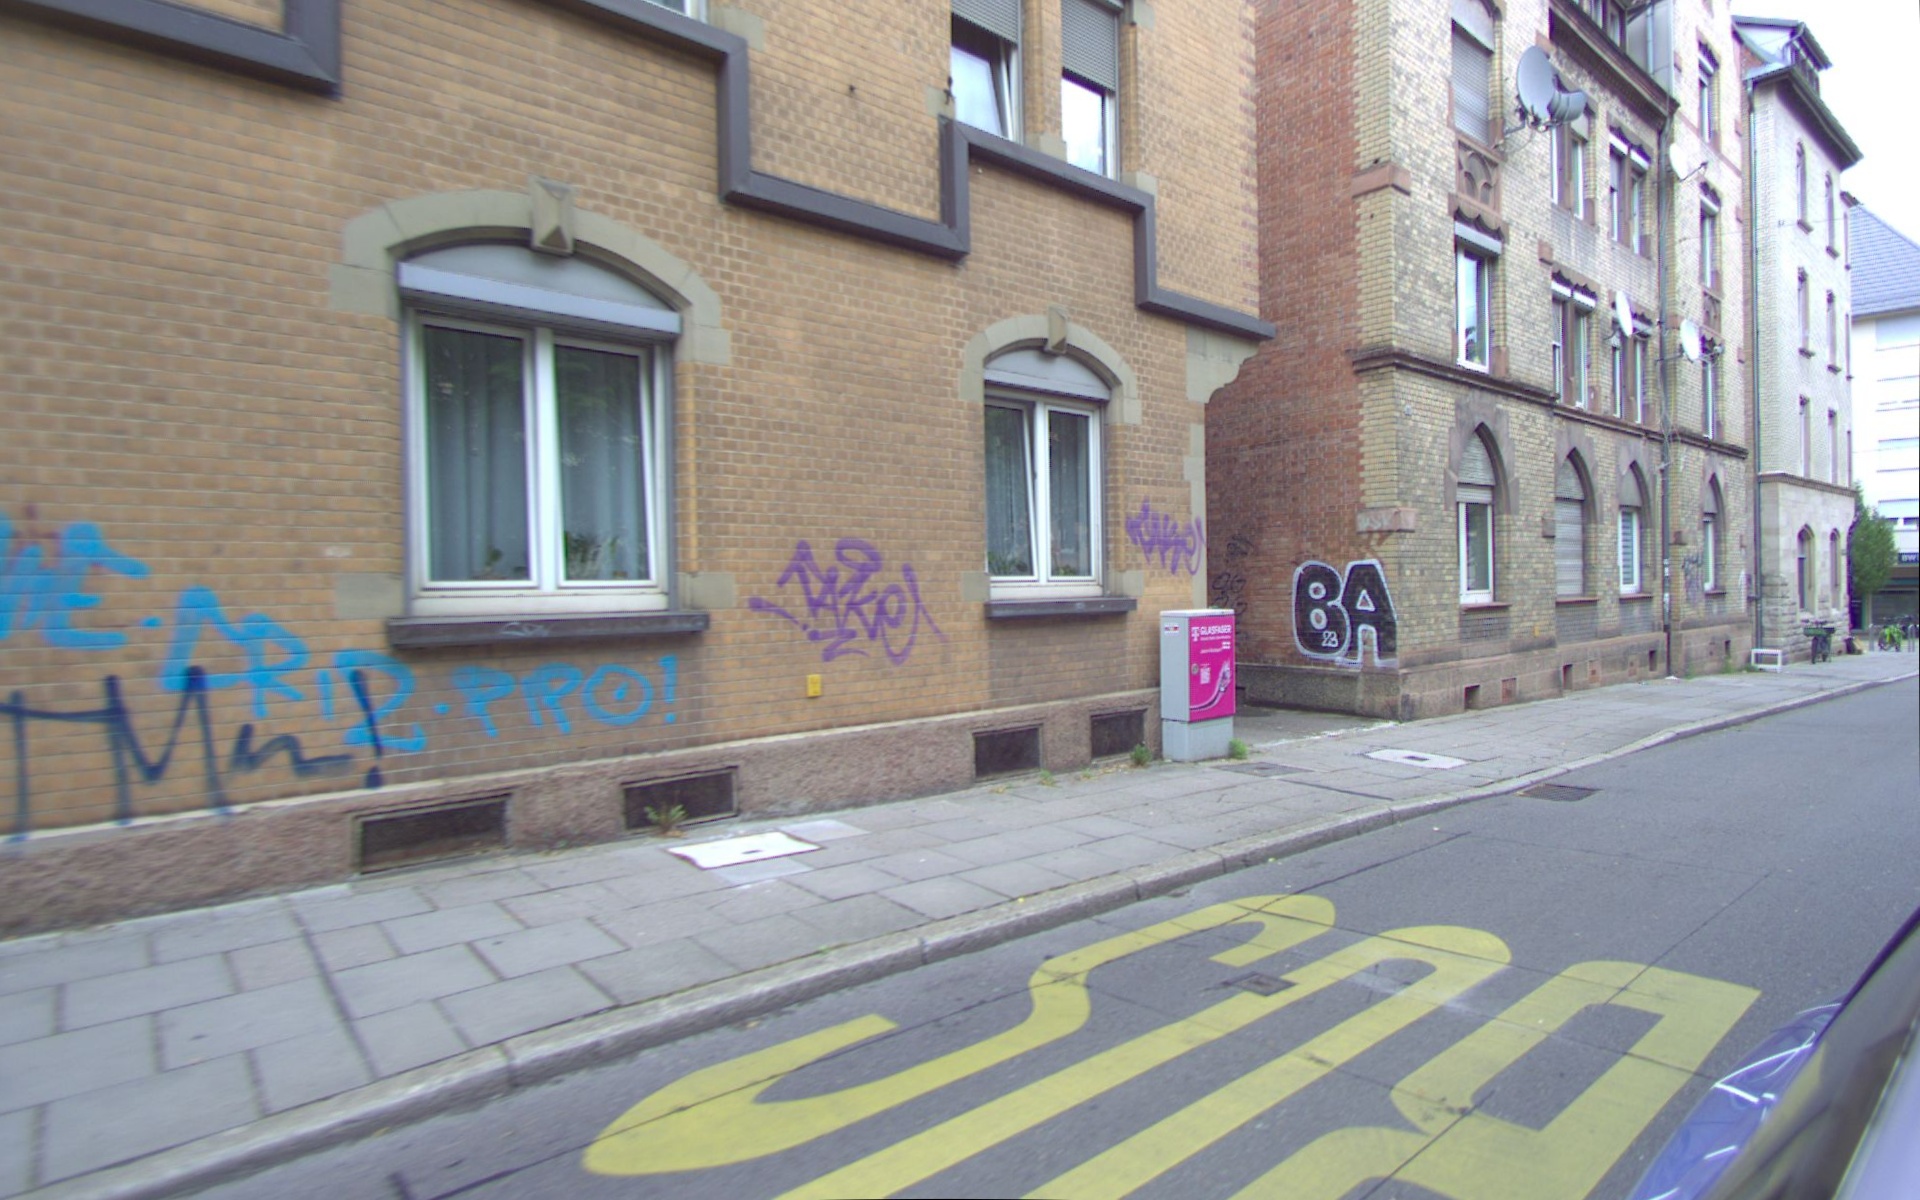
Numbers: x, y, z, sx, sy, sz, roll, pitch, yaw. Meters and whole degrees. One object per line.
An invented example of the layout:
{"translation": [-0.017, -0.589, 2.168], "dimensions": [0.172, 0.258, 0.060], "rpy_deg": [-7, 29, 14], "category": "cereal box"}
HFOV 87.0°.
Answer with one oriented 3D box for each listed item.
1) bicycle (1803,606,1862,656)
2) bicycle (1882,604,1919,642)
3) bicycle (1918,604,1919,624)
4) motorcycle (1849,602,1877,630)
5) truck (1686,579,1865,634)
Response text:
{"translation": [22.369, 0.766, 25.917], "dimensions": [2.438, 1.164, 0.683], "rpy_deg": [-1, 0, -38], "category": "bicycle"}
{"translation": [30.656, 0.757, 32.780], "dimensions": [2.886, 1.164, 0.683], "rpy_deg": [2, -1, -38], "category": "bicycle"}
{"translation": [44.546, 0.627, 46.914], "dimensions": [0.184, 0.919, 1.217], "rpy_deg": [-1, -1, 44], "category": "bicycle"}
{"translation": [41.516, 0.715, 46.511], "dimensions": [1.895, 1.211, 0.591], "rpy_deg": [0, 2, -38], "category": "motorcycle"}
{"translation": [35.610, 0.357, 44.336], "dimensions": [2.512, 2.135, 5.841], "rpy_deg": [4, -5, -45], "category": "truck"}
